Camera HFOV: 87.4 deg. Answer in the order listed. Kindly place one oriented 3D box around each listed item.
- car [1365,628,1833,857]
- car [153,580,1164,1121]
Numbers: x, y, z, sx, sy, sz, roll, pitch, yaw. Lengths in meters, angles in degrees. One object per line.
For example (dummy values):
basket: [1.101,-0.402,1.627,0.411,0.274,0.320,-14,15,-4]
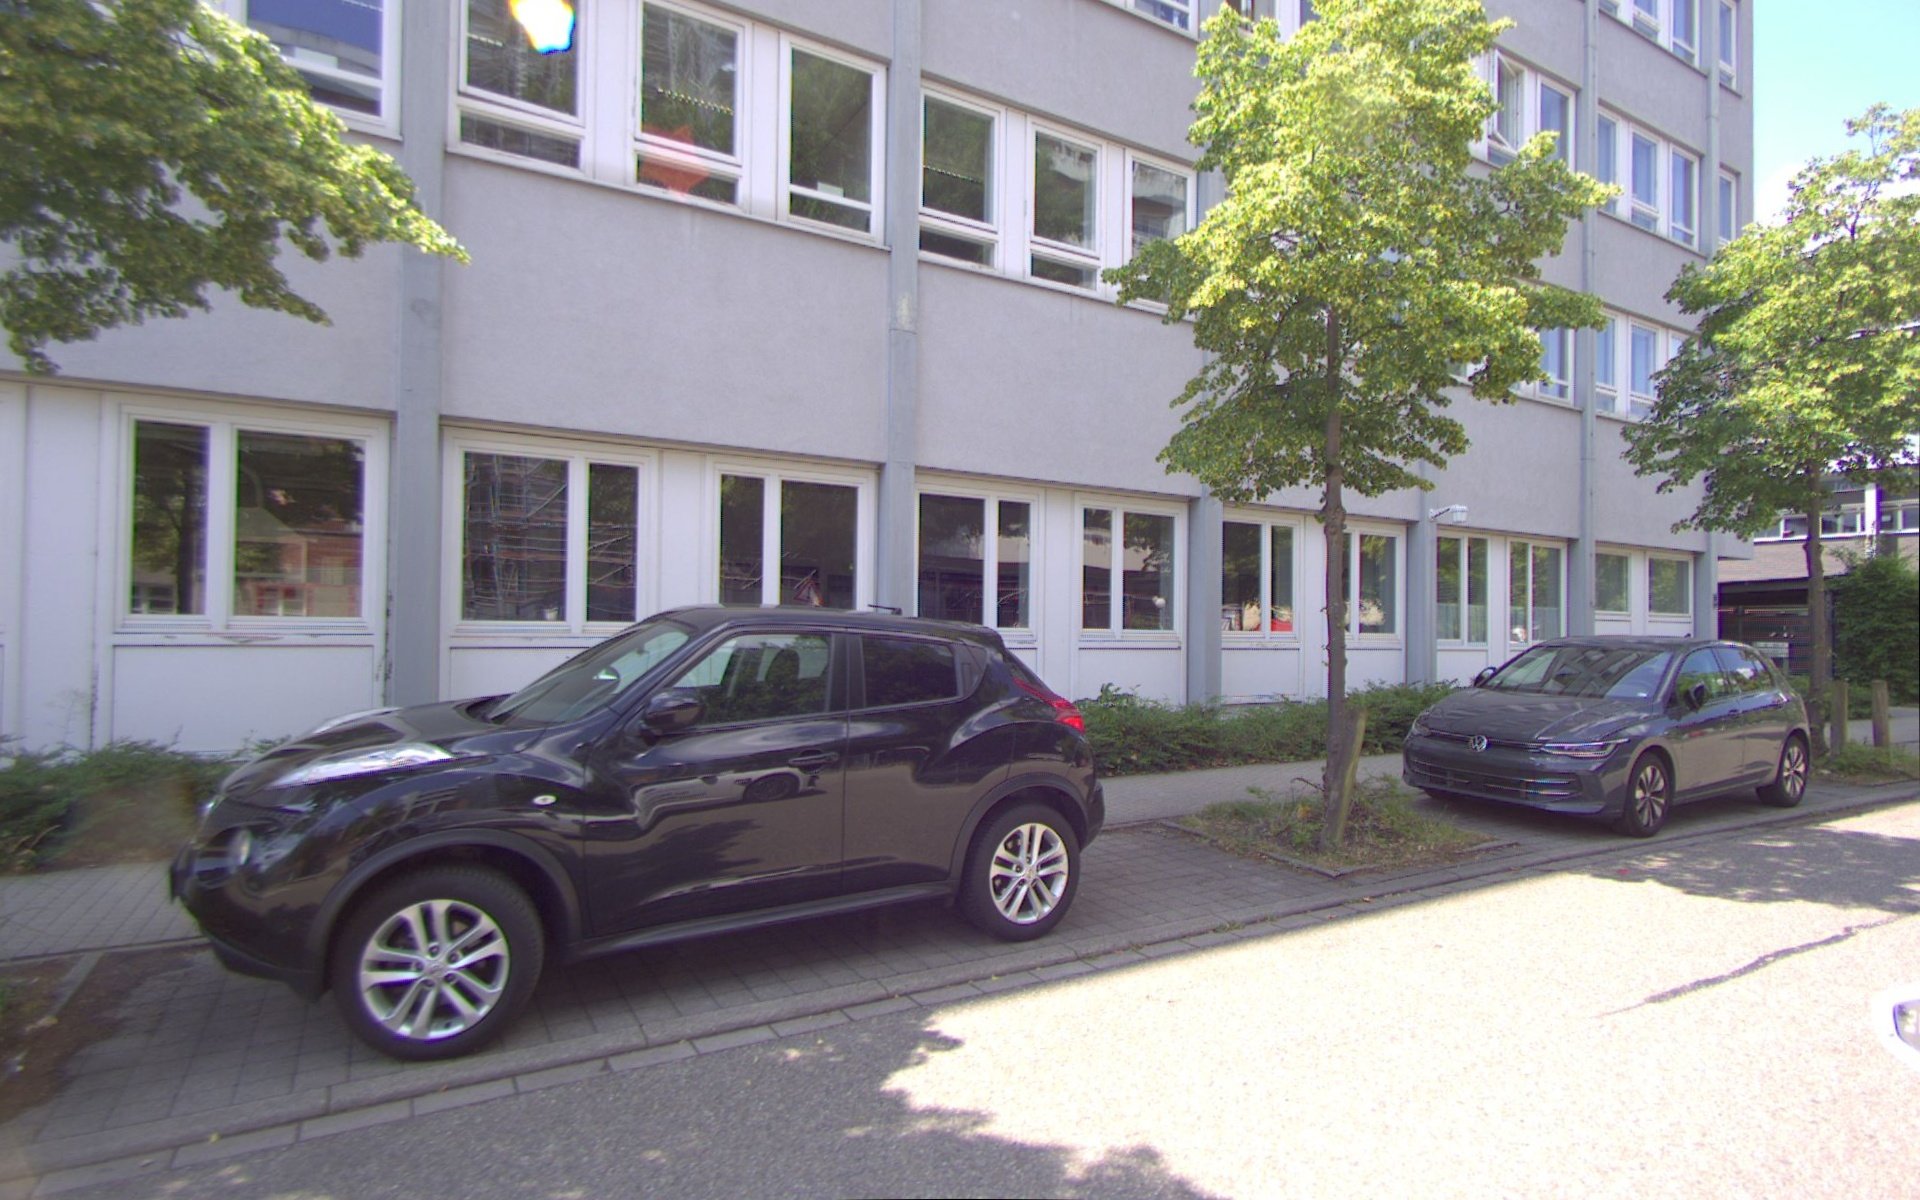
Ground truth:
car: [5.572,1.026,8.615,4.212,1.480,1.768,2,-1,-32]
car: [-1.099,0.797,4.759,4.023,1.584,1.687,2,-2,-32]
